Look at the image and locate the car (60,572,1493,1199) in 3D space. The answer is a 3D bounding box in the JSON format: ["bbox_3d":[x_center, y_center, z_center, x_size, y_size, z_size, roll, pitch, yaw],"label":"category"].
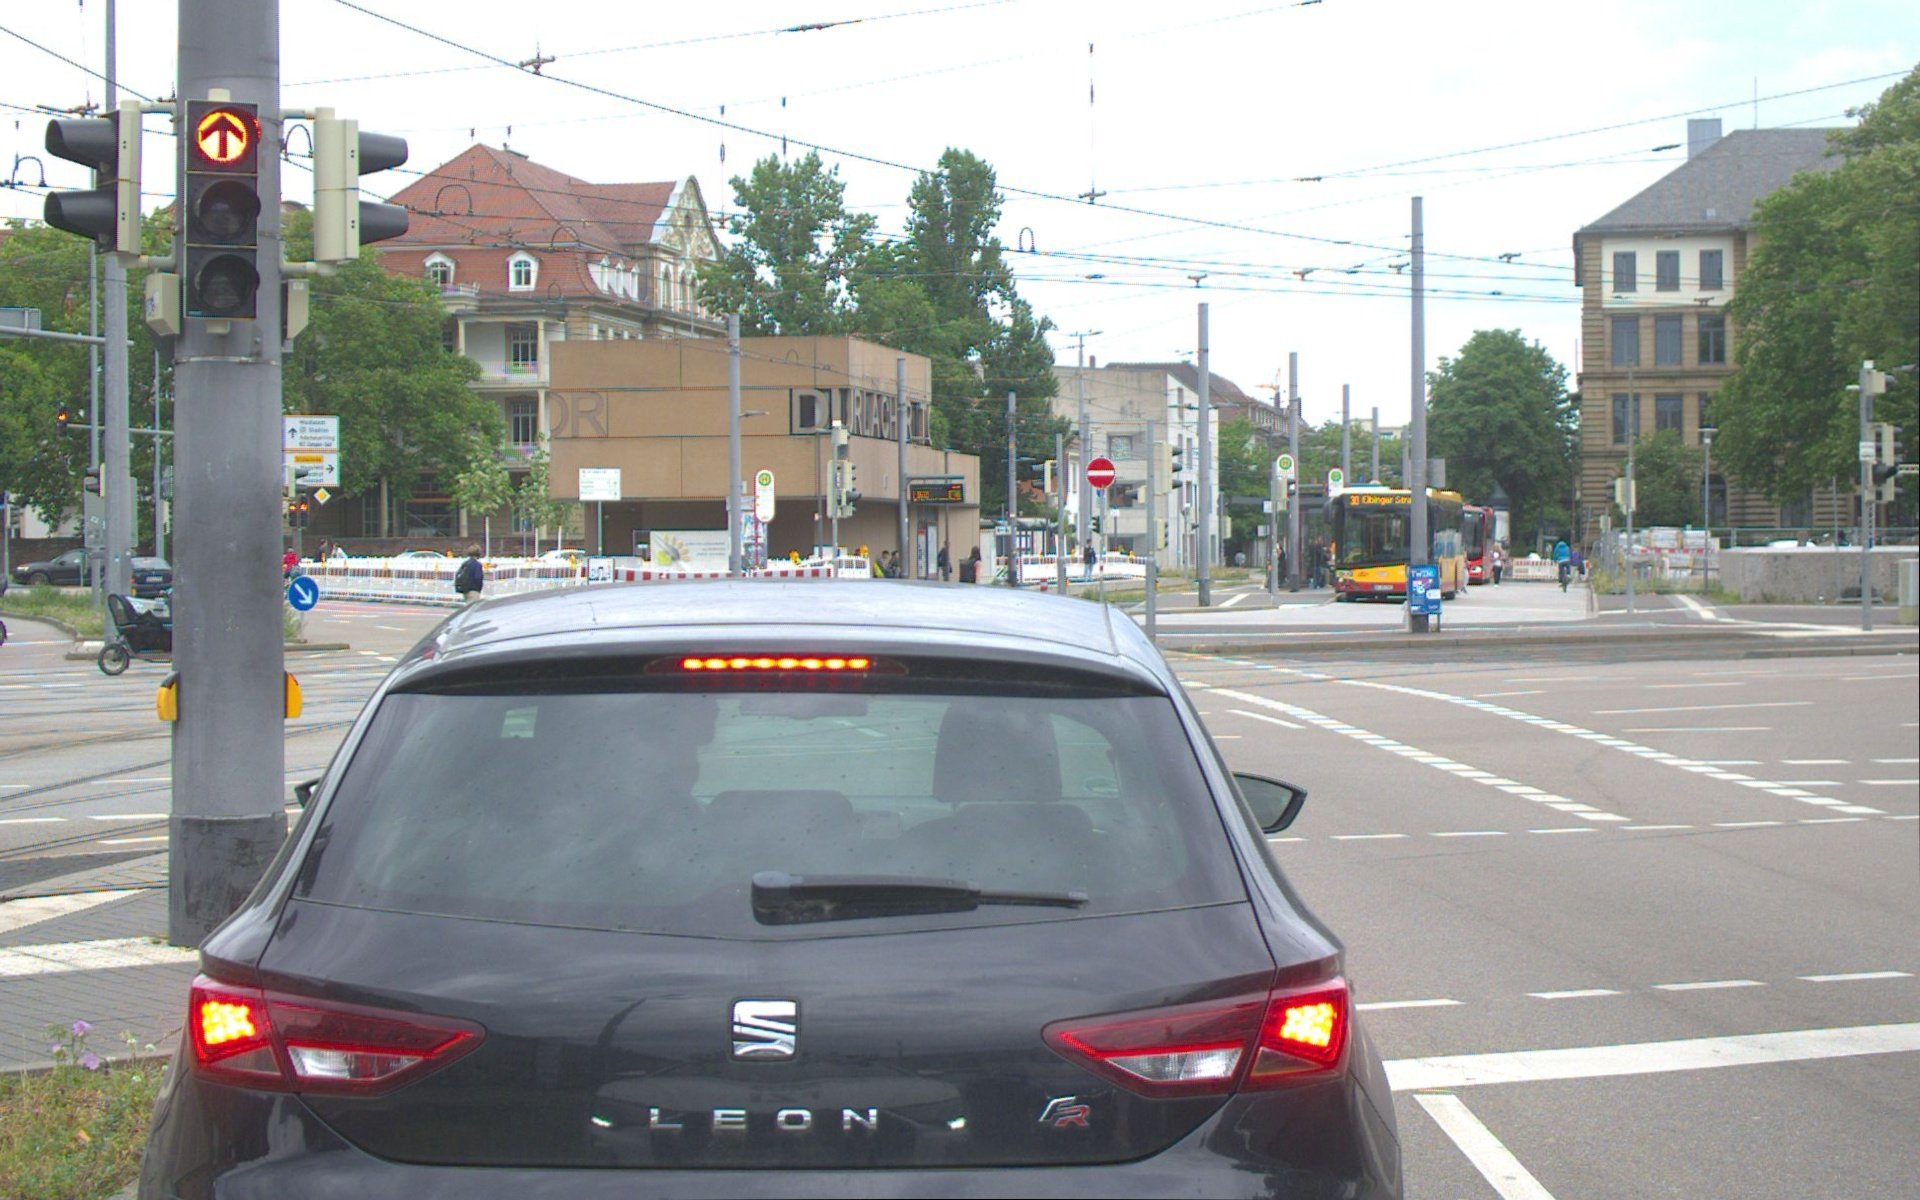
[{"bbox_3d":[-0.354,0.691,6.004,1.704,1.444,3.813,0,1,-4],"label":"car"}]

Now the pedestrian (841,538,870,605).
[{"bbox_3d":[-2.960,-0.809,97.382,0.708,1.911,0.623,0,1,7],"label":"pedestrian"}]

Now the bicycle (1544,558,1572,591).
[{"bbox_3d":[20.441,-0.894,117.530,0.866,1.101,2.301,0,1,12],"label":"bicycle"}]

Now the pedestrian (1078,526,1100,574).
[{"bbox_3d":[5.171,-2.010,137.566,0.622,1.911,0.709,-1,0,25],"label":"pedestrian"}]

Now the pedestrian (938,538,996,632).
[{"bbox_3d":[0.149,-0.317,71.570,0.700,1.927,1.028,0,1,38],"label":"pedestrian"}]

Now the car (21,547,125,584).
[{"bbox_3d":[-36.092,-1.407,139.916,3.986,1.459,1.782,0,1,-11],"label":"car"}]

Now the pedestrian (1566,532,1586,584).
[{"bbox_3d":[23.885,-1.623,133.296,0.662,2.007,0.692,0,1,0],"label":"pedestrian"}]

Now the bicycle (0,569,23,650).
[{"bbox_3d":[-16.276,0.158,56.204,1.730,1.317,0.645,-1,1,-32],"label":"bicycle"}]

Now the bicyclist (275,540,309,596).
[{"bbox_3d":[-20.993,-1.008,108.052,0.882,1.726,0.894,0,1,-22],"label":"bicyclist"}]

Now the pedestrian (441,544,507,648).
[{"bbox_3d":[-9.073,-0.081,64.184,1.027,1.927,0.701,-1,1,-25],"label":"pedestrian"}]

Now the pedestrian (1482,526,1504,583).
[{"bbox_3d":[18.915,-1.628,122.060,0.662,2.007,0.692,0,1,0],"label":"pedestrian"}]

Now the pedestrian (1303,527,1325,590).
[{"bbox_3d":[10.773,-1.251,104.508,0.621,1.911,0.698,0,1,9],"label":"pedestrian"}]

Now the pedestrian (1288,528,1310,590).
[{"bbox_3d":[10.386,-1.264,105.441,0.621,1.911,0.710,0,1,3],"label":"pedestrian"}]

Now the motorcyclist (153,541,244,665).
[{"bbox_3d":[-10.214,0.033,46.111,0.977,1.644,0.750,-1,0,-33],"label":"motorcyclist"}]

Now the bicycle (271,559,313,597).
[{"bbox_3d":[-21.019,-0.689,108.130,0.891,1.174,2.302,0,1,-22],"label":"bicycle"}]

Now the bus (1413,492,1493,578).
[{"bbox_3d":[19.660,-2.561,136.672,2.655,3.272,10.990,0,1,11],"label":"bus"}]

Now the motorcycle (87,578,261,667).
[{"bbox_3d":[-10.493,0.291,45.913,2.135,1.135,0.744,-1,1,-33],"label":"motorcycle"}]

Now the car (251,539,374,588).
[{"bbox_3d":[-23.148,-1.295,123.038,3.987,1.678,2.000,-1,0,1],"label":"car"}]

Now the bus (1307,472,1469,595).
[{"bbox_3d":[11.755,-1.802,93.462,2.962,3.112,11.531,0,1,14],"label":"bus"}]

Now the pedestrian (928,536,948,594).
[{"bbox_3d":[-0.738,-1.145,113.765,0.621,1.911,0.710,0,1,3],"label":"pedestrian"}]

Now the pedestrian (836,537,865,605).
[{"bbox_3d":[-3.083,-0.811,96.586,0.708,1.911,0.623,0,1,7],"label":"pedestrian"}]

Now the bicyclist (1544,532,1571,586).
[{"bbox_3d":[20.411,-1.407,117.416,0.872,1.845,1.047,0,1,12],"label":"bicyclist"}]

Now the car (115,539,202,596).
[{"bbox_3d":[-24.451,-0.974,104.771,1.993,1.678,4.001,0,0,-22],"label":"car"}]

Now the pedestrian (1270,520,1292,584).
[{"bbox_3d":[9.730,-1.455,104.101,0.621,1.911,0.698,0,1,9],"label":"pedestrian"}]
